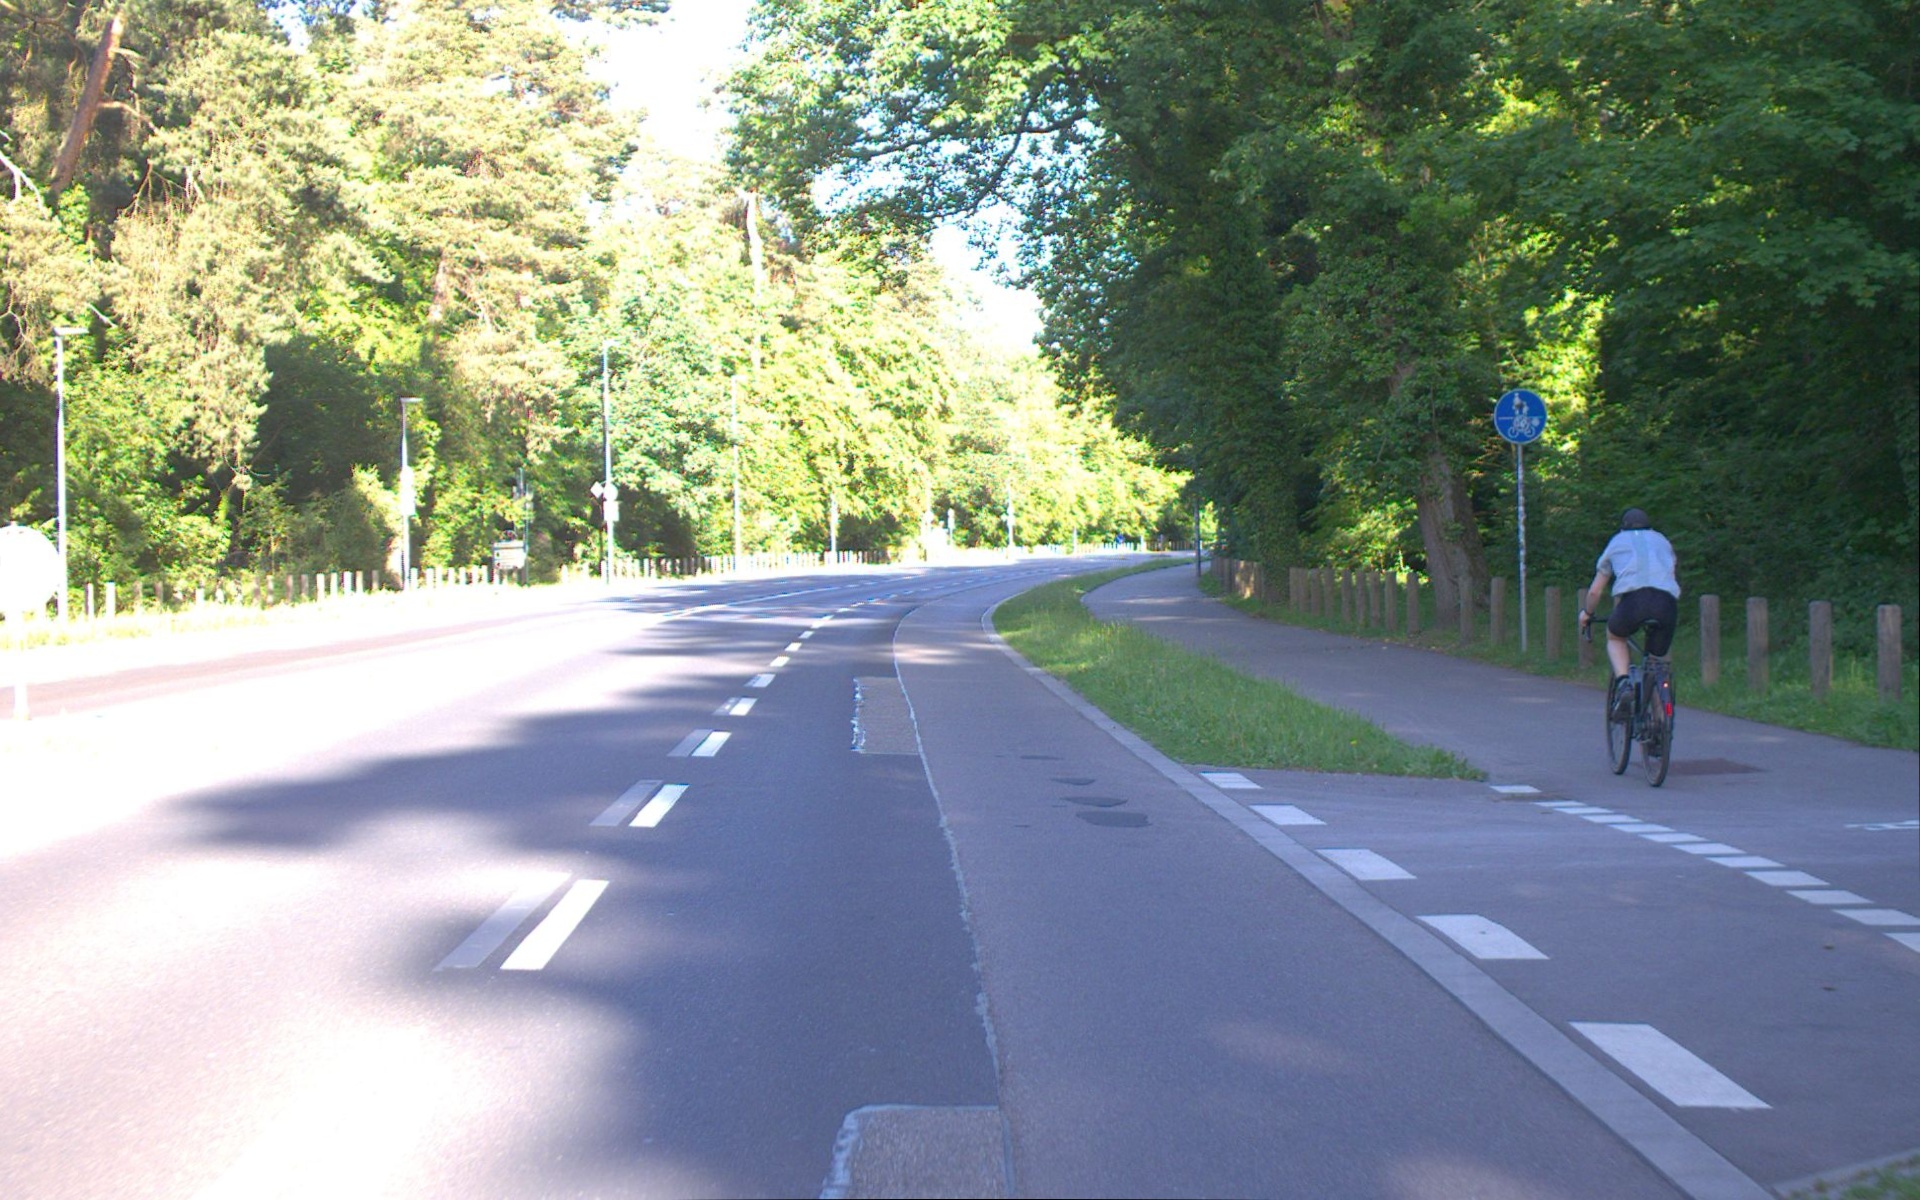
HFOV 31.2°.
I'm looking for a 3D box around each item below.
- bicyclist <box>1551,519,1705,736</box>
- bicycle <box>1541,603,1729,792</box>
[{"bbox_3d":[4.074,0.154,21.027,0.712,1.284,1.104,0,1,-1],"label":"bicyclist"},{"bbox_3d":[4.075,0.565,20.906,0.712,1.052,2.053,0,1,-1],"label":"bicycle"}]
